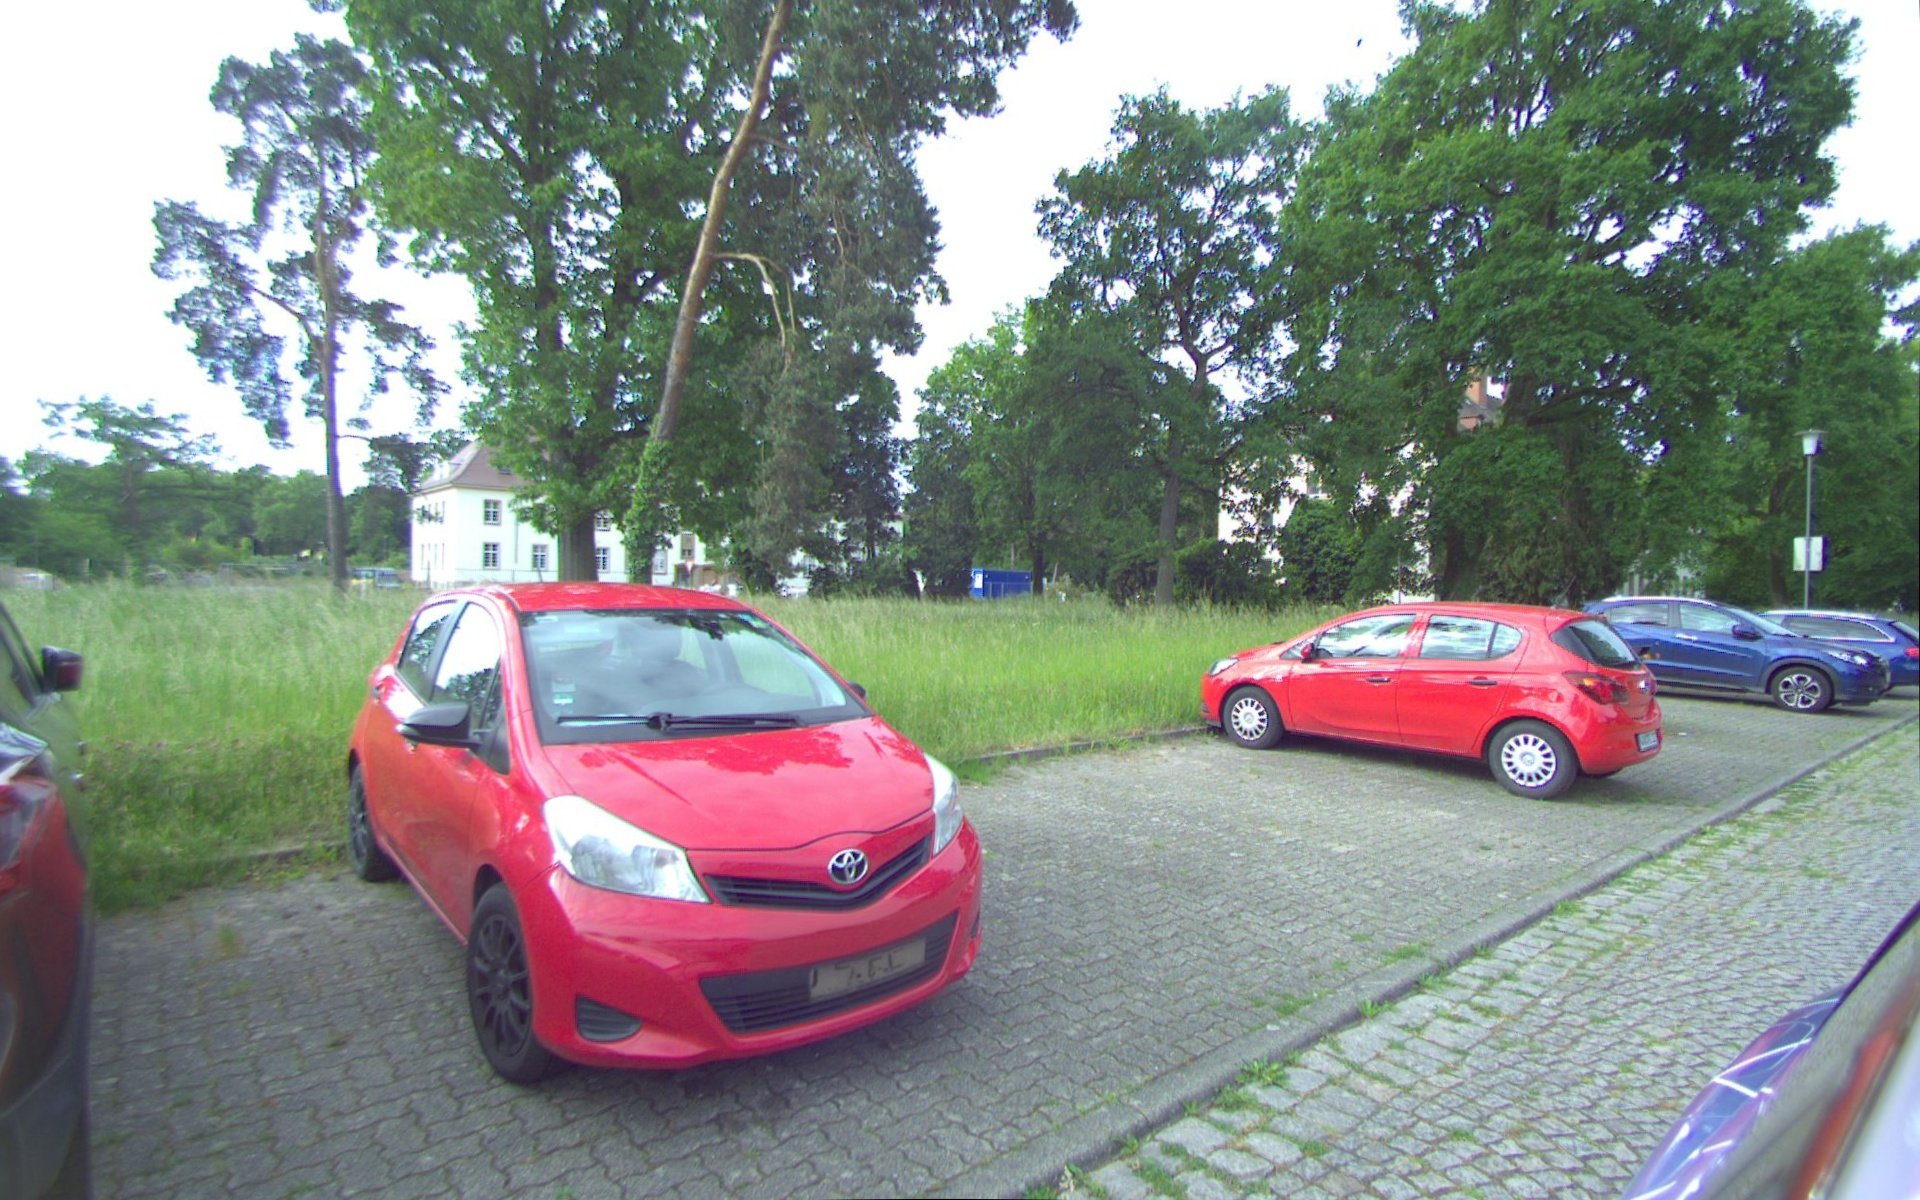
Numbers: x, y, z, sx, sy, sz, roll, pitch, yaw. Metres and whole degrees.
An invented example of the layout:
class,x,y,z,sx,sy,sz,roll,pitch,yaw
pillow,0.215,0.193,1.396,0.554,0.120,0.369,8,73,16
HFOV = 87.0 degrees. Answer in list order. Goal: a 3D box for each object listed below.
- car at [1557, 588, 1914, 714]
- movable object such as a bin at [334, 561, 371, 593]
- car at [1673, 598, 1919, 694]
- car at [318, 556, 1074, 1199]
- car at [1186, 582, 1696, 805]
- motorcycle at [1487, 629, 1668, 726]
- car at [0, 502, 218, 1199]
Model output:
class,x,y,z,sx,sy,sz,roll,pitch,yaw
car,11.863,0.669,15.728,1.555,1.557,4.147,1,2,-41
movable object such as a bin,-40.213,-1.525,67.042,1.646,2.039,3.250,1,1,-23
car,15.545,0.774,18.457,1.555,1.443,3.875,1,2,-41
car,-1.560,0.607,4.536,1.734,1.504,4.016,1,2,-40
car,4.158,0.653,9.258,1.555,1.478,3.892,1,2,-41
motorcycle,7.392,0.892,12.171,1.741,0.969,0.604,3,2,44
car,-3.304,0.565,2.686,1.790,1.618,4.268,1,2,-41
